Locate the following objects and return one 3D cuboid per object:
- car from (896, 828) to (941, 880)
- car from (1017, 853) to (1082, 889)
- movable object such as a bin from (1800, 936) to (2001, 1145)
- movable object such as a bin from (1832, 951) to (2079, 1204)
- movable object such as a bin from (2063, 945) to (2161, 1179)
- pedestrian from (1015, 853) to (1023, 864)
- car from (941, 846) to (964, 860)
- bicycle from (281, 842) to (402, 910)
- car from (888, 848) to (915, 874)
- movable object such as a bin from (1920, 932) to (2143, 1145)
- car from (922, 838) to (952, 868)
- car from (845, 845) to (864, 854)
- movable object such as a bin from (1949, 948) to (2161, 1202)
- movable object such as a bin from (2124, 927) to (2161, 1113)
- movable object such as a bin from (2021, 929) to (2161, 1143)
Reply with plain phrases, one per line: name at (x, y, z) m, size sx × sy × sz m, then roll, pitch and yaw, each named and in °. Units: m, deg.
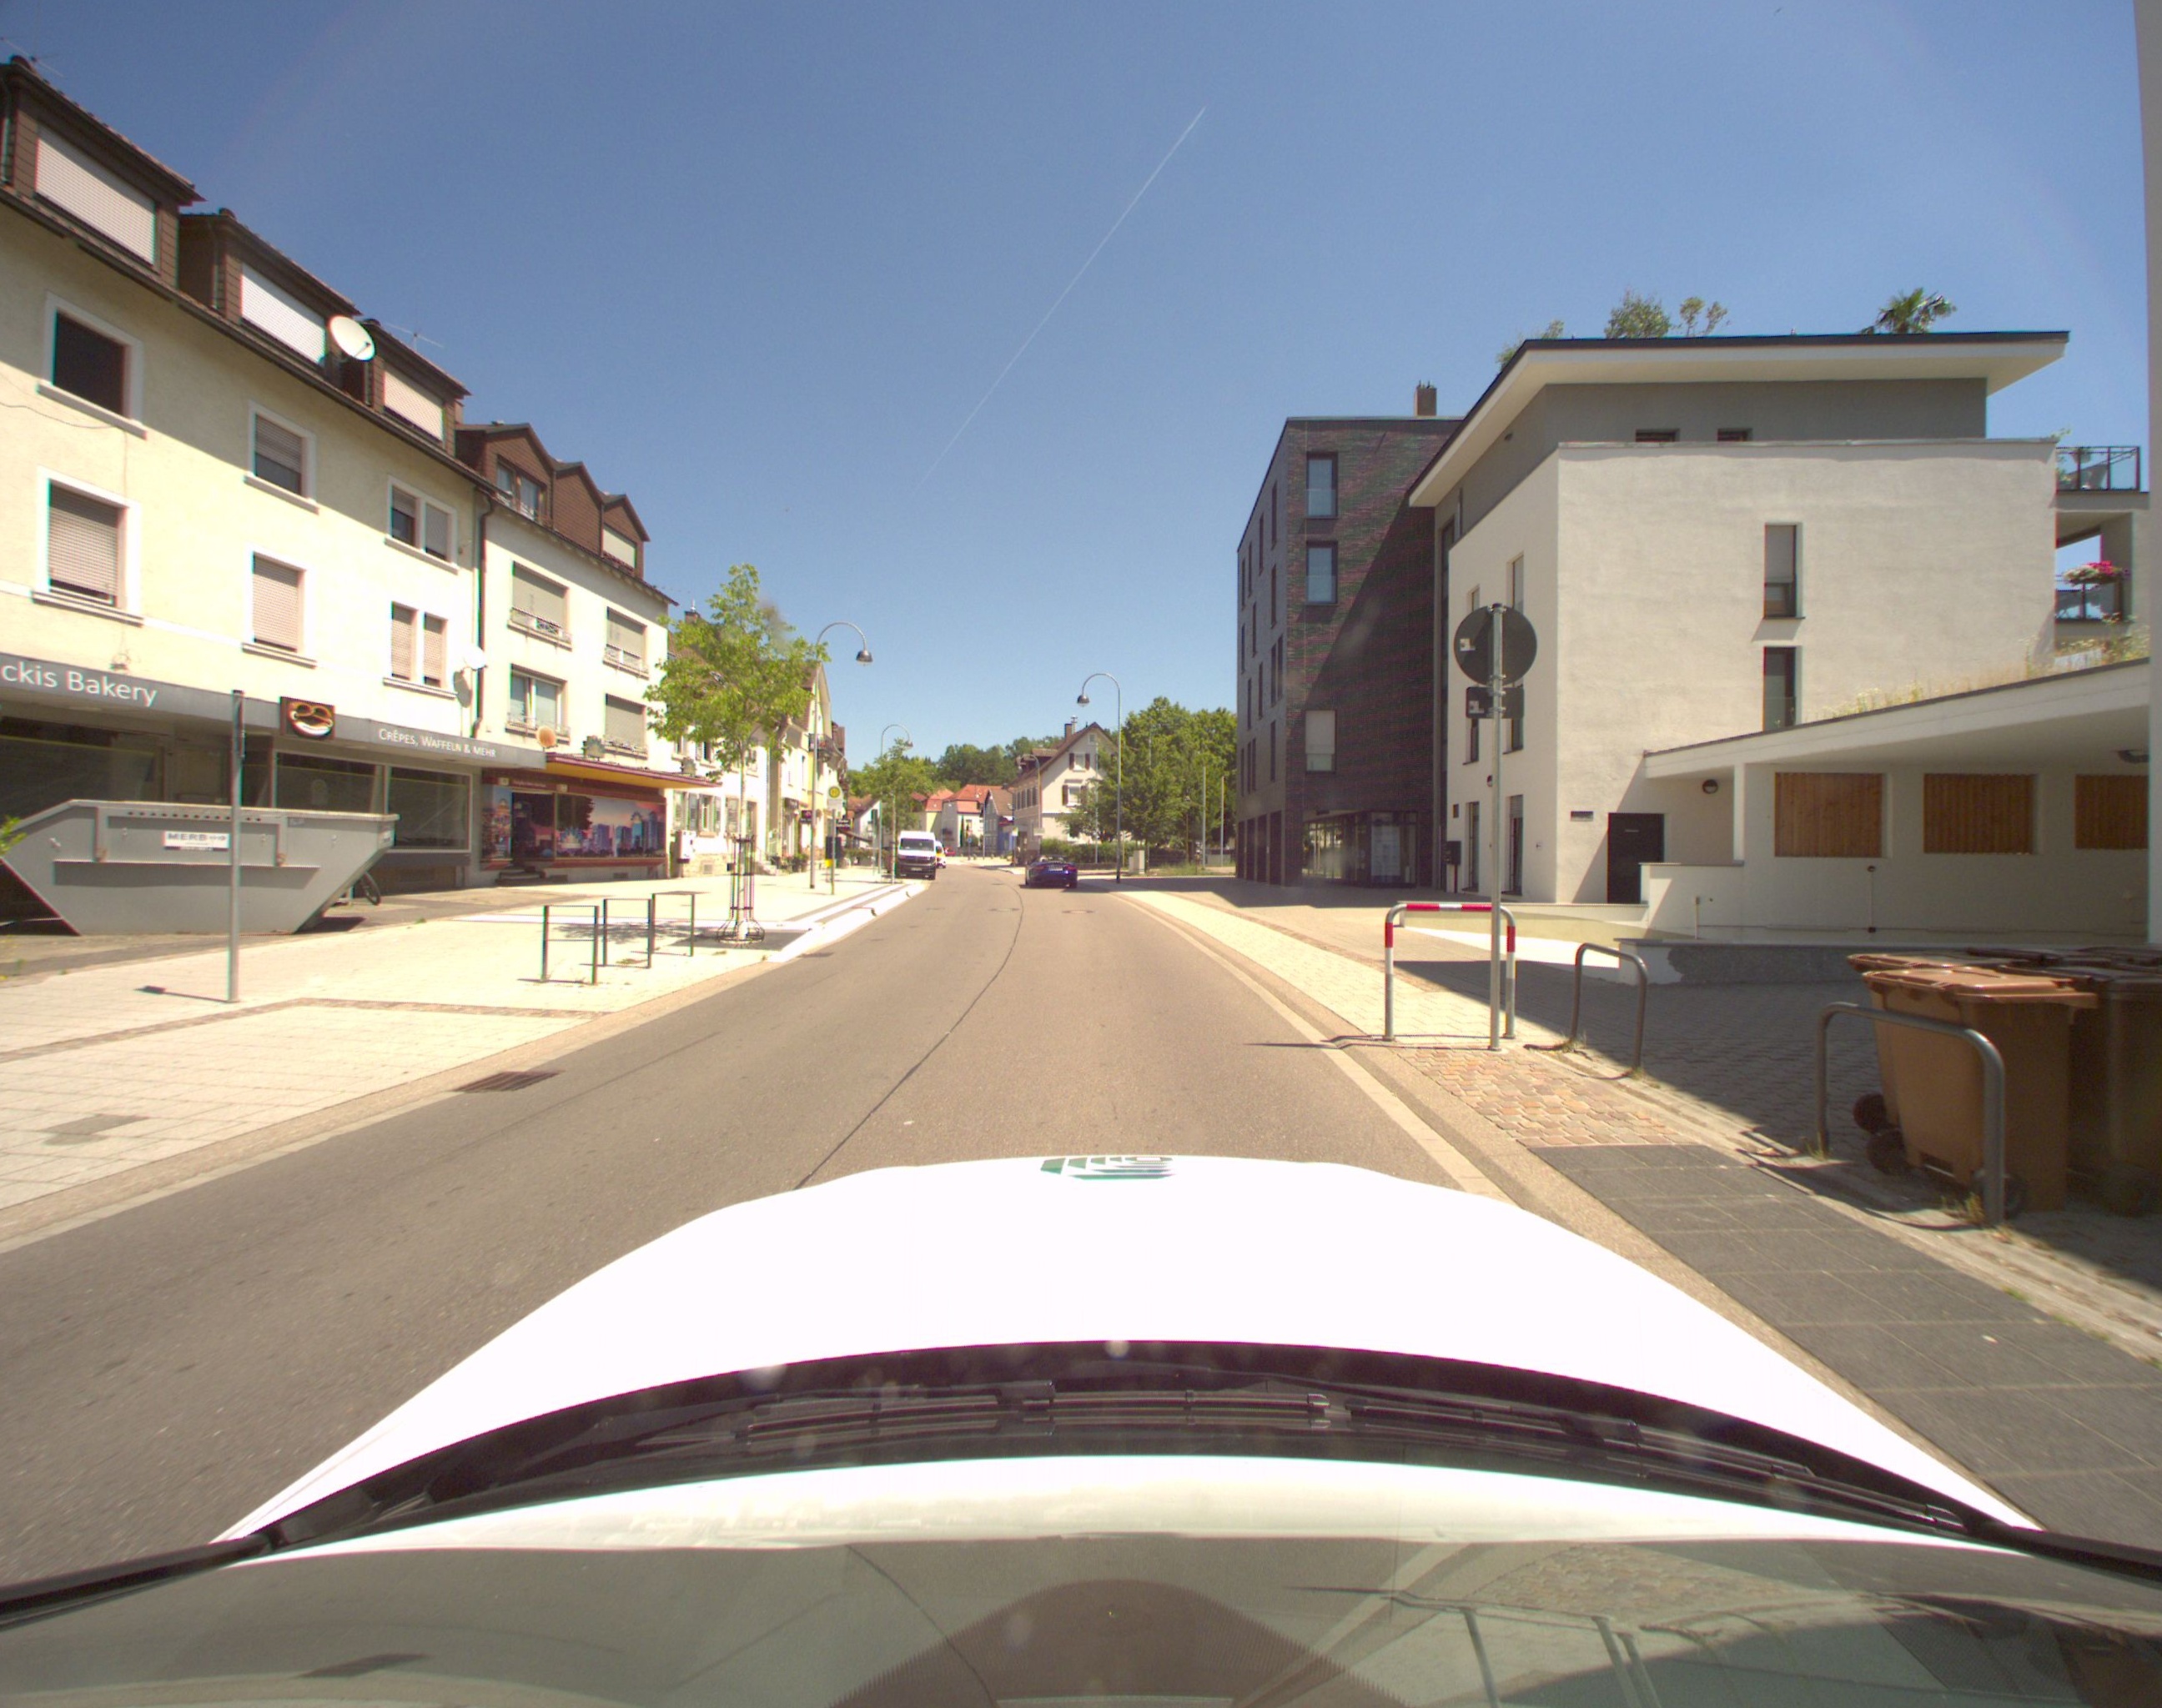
car at (-8.564, -0.010, 42.784) m, size 2.094 × 2.498 × 5.480 m, roll 2°, pitch 0°, yaw -12°
car at (-1.367, 0.643, 33.484) m, size 1.913 × 1.360 × 4.266 m, roll 0°, pitch 0°, yaw -13°
movable object such as a bin at (4.119, 0.913, 4.128) m, size 0.471 × 0.931 × 0.529 m, roll -1°, pitch 0°, yaw 3°
movable object such as a bin at (3.711, 0.918, 3.493) m, size 0.471 × 0.931 × 0.529 m, roll -1°, pitch 0°, yaw 3°
movable object such as a bin at (4.725, 0.884, 3.455) m, size 0.463 × 0.931 × 0.522 m, roll -1°, pitch 0°, yaw 3°
pedestrian at (-5.579, 0.412, 73.603) m, size 0.591 × 0.999 × 0.720 m, roll -1°, pitch 1°, yaw -16°
car at (-18.334, -0.131, 115.959) m, size 2.005 × 2.014 × 3.964 m, roll 1°, pitch 0°, yaw -28°
bicycle at (-14.382, 0.413, 15.863) m, size 1.758 × 1.234 × 0.616 m, roll 2°, pitch 0°, yaw 1°
car at (-11.197, 0.438, 50.936) m, size 1.560 × 1.521 × 3.502 m, roll 1°, pitch -1°, yaw -11°
movable object such as a bin at (4.683, 0.884, 4.045) m, size 0.471 × 0.931 × 0.529 m, roll -1°, pitch 0°, yaw 3°
car at (-12.184, -0.085, 68.691) m, size 2.159 × 2.362 × 5.224 m, roll -1°, pitch 0°, yaw -13°
car at (-44.625, -0.887, 160.362) m, size 3.950 × 1.588 × 1.867 m, roll 0°, pitch 1°, yaw 45°
movable object such as a bin at (4.225, 0.902, 3.470) m, size 0.465 × 0.931 × 0.529 m, roll -1°, pitch 0°, yaw 3°
movable object such as a bin at (5.711, 0.845, 4.001) m, size 0.471 × 0.931 × 0.529 m, roll -1°, pitch 0°, yaw 3°
movable object such as a bin at (5.206, 0.866, 4.031) m, size 0.471 × 0.931 × 0.529 m, roll -1°, pitch 0°, yaw 3°
